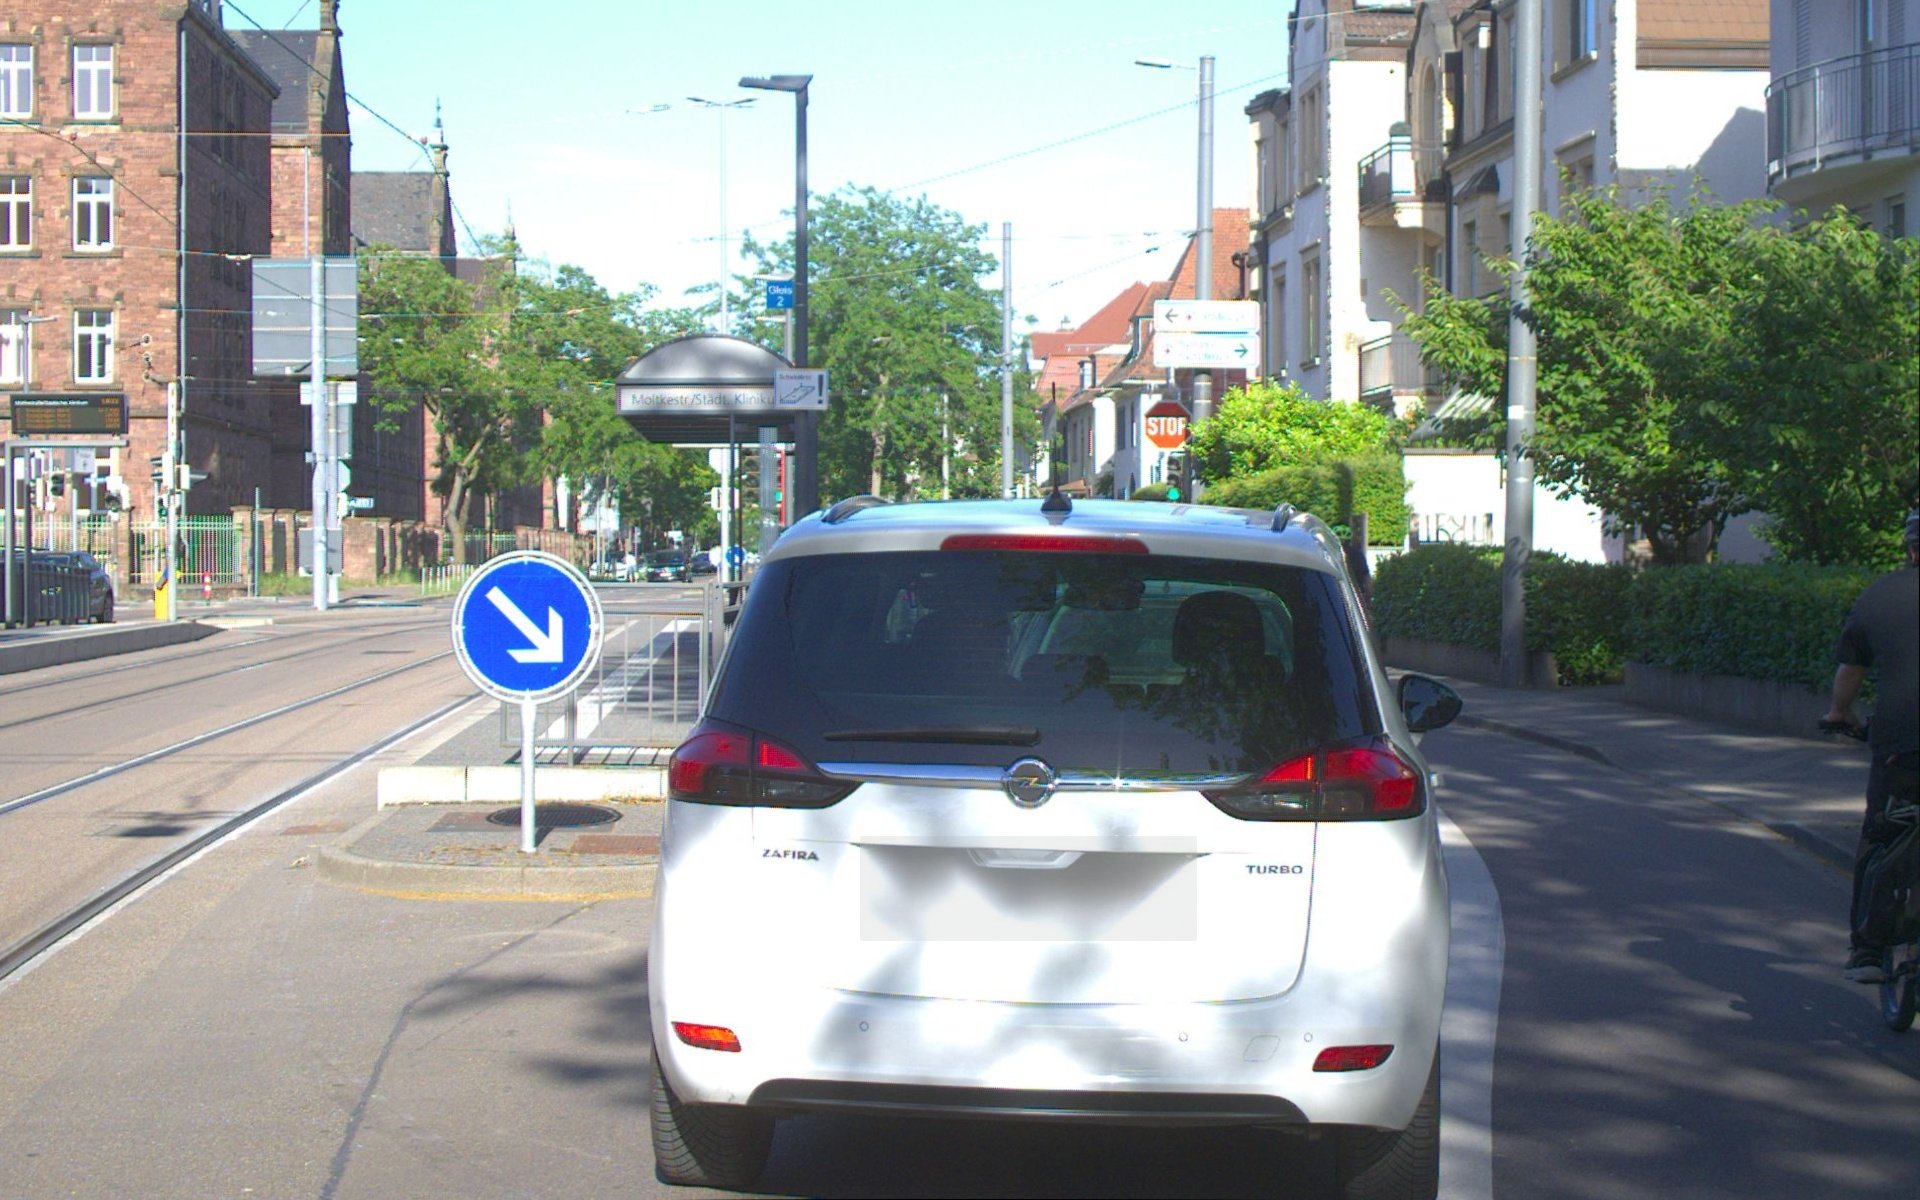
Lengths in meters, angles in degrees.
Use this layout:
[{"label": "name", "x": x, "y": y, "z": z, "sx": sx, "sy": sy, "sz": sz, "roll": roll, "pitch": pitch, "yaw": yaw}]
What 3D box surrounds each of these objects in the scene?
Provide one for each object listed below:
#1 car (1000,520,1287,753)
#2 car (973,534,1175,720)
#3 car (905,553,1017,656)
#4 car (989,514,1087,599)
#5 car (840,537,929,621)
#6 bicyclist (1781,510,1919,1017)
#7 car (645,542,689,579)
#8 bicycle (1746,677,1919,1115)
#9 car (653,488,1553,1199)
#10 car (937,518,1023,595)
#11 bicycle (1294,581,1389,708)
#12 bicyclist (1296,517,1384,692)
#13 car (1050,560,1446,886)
[{"label": "car", "x": 1.330, "y": 0.240, "z": 26.345, "sx": 1.776, "sy": 1.626, "sz": 3.881, "roll": 1, "pitch": 1, "yaw": -3}, {"label": "car", "x": 1.034, "y": 0.223, "z": 32.558, "sx": 1.776, "sy": 1.626, "sz": 3.880, "roll": 1, "pitch": 1, "yaw": 1}, {"label": "car", "x": 0.001, "y": 0.055, "z": 56.741, "sx": 1.776, "sy": 1.626, "sz": 3.881, "roll": 1, "pitch": 1, "yaw": 0}, {"label": "car", "x": 1.528, "y": -0.864, "z": 68.731, "sx": 1.776, "sy": 1.626, "sz": 3.881, "roll": 1, "pitch": 1, "yaw": -1}, {"label": "car", "x": -1.575, "y": -0.444, "z": 71.642, "sx": 1.776, "sy": 1.687, "sz": 3.881, "roll": 1, "pitch": 1, "yaw": -1}, {"label": "bicyclist", "x": 3.031, "y": 0.484, "z": 10.622, "sx": 0.821, "sy": 1.496, "sz": 0.934, "roll": 1, "pitch": 0, "yaw": 6}, {"label": "car", "x": -13.694, "y": -1.850, "z": 160.879, "sx": 1.906, "sy": 1.671, "sz": 4.358, "roll": 1, "pitch": 1, "yaw": -3}, {"label": "bicycle", "x": 3.020, "y": 0.866, "z": 10.625, "sx": 0.829, "sy": 1.150, "sz": 2.094, "roll": 3, "pitch": 1, "yaw": 5}, {"label": "car", "x": 0.214, "y": 0.580, "z": 9.022, "sx": 1.834, "sy": 1.636, "sz": 3.919, "roll": 1, "pitch": 1, "yaw": -2}, {"label": "car", "x": 0.407, "y": -0.945, "z": 75.555, "sx": 1.776, "sy": 1.626, "sz": 3.881, "roll": 1, "pitch": 1, "yaw": -1}, {"label": "bicycle", "x": 3.612, "y": 0.408, "z": 32.669, "sx": 0.685, "sy": 1.153, "sz": 1.619, "roll": 1, "pitch": 0, "yaw": -1}, {"label": "bicyclist", "x": 3.612, "y": 0.038, "z": 32.729, "sx": 0.685, "sy": 1.629, "sz": 1.015, "roll": 1, "pitch": 0, "yaw": -1}, {"label": "car", "x": 1.341, "y": 0.528, "z": 17.305, "sx": 1.586, "sy": 1.415, "sz": 3.900, "roll": 0, "pitch": 1, "yaw": -1}]
